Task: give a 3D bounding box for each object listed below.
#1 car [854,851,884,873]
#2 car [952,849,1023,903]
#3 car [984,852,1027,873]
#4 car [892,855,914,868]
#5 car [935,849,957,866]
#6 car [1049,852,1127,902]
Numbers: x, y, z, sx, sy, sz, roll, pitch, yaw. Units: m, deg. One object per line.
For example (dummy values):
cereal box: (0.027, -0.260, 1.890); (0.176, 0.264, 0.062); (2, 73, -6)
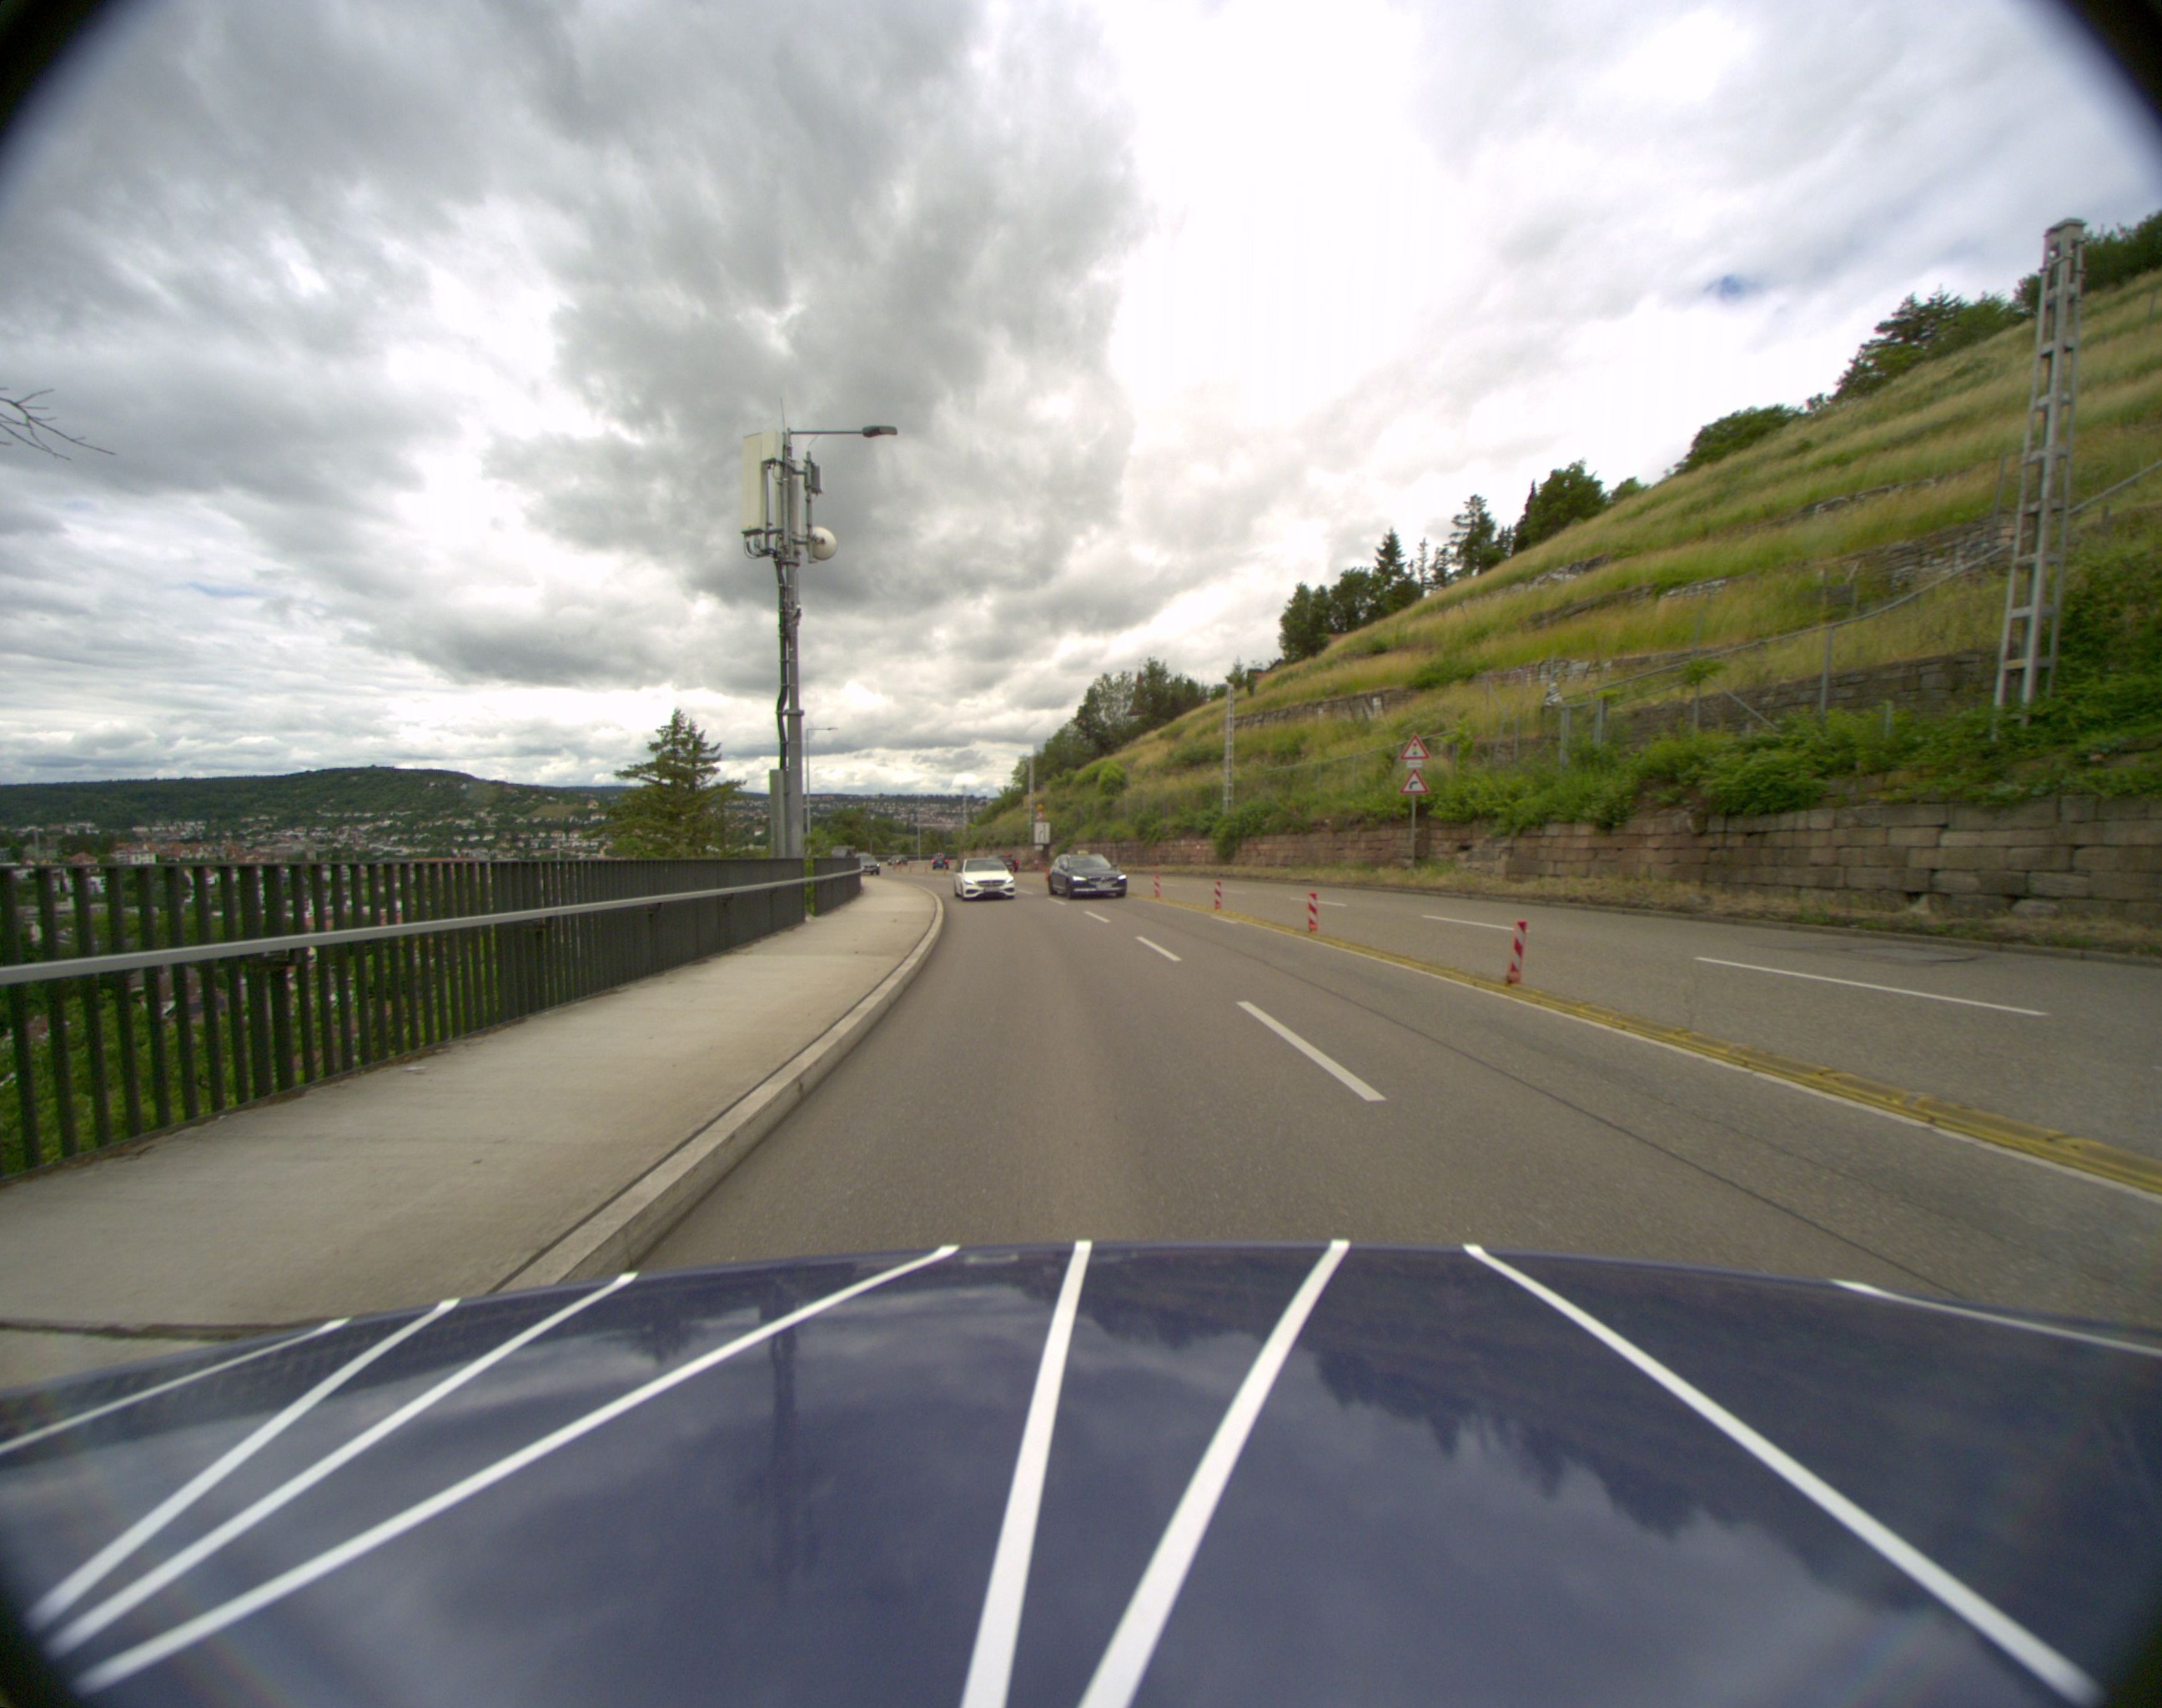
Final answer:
car: (-16.874, 0.614, 60.358); (2.002, 1.661, 4.530); (-1, 0, -20)
car: (-3.416, 0.741, 27.055); (2.001, 1.708, 3.995); (-3, 0, -14)
car: (-5.766, 0.627, 57.416); (1.858, 1.405, 4.406); (-4, 2, -24)
car: (-23.996, 1.048, 102.358); (1.999, 1.661, 4.537); (-1, 0, -2)
car: (-15.616, 0.363, 88.019); (1.856, 1.772, 4.732); (-3, 1, -2)
car: (0.150, 0.733, 25.885); (1.902, 1.485, 4.138); (-3, 0, -10)
